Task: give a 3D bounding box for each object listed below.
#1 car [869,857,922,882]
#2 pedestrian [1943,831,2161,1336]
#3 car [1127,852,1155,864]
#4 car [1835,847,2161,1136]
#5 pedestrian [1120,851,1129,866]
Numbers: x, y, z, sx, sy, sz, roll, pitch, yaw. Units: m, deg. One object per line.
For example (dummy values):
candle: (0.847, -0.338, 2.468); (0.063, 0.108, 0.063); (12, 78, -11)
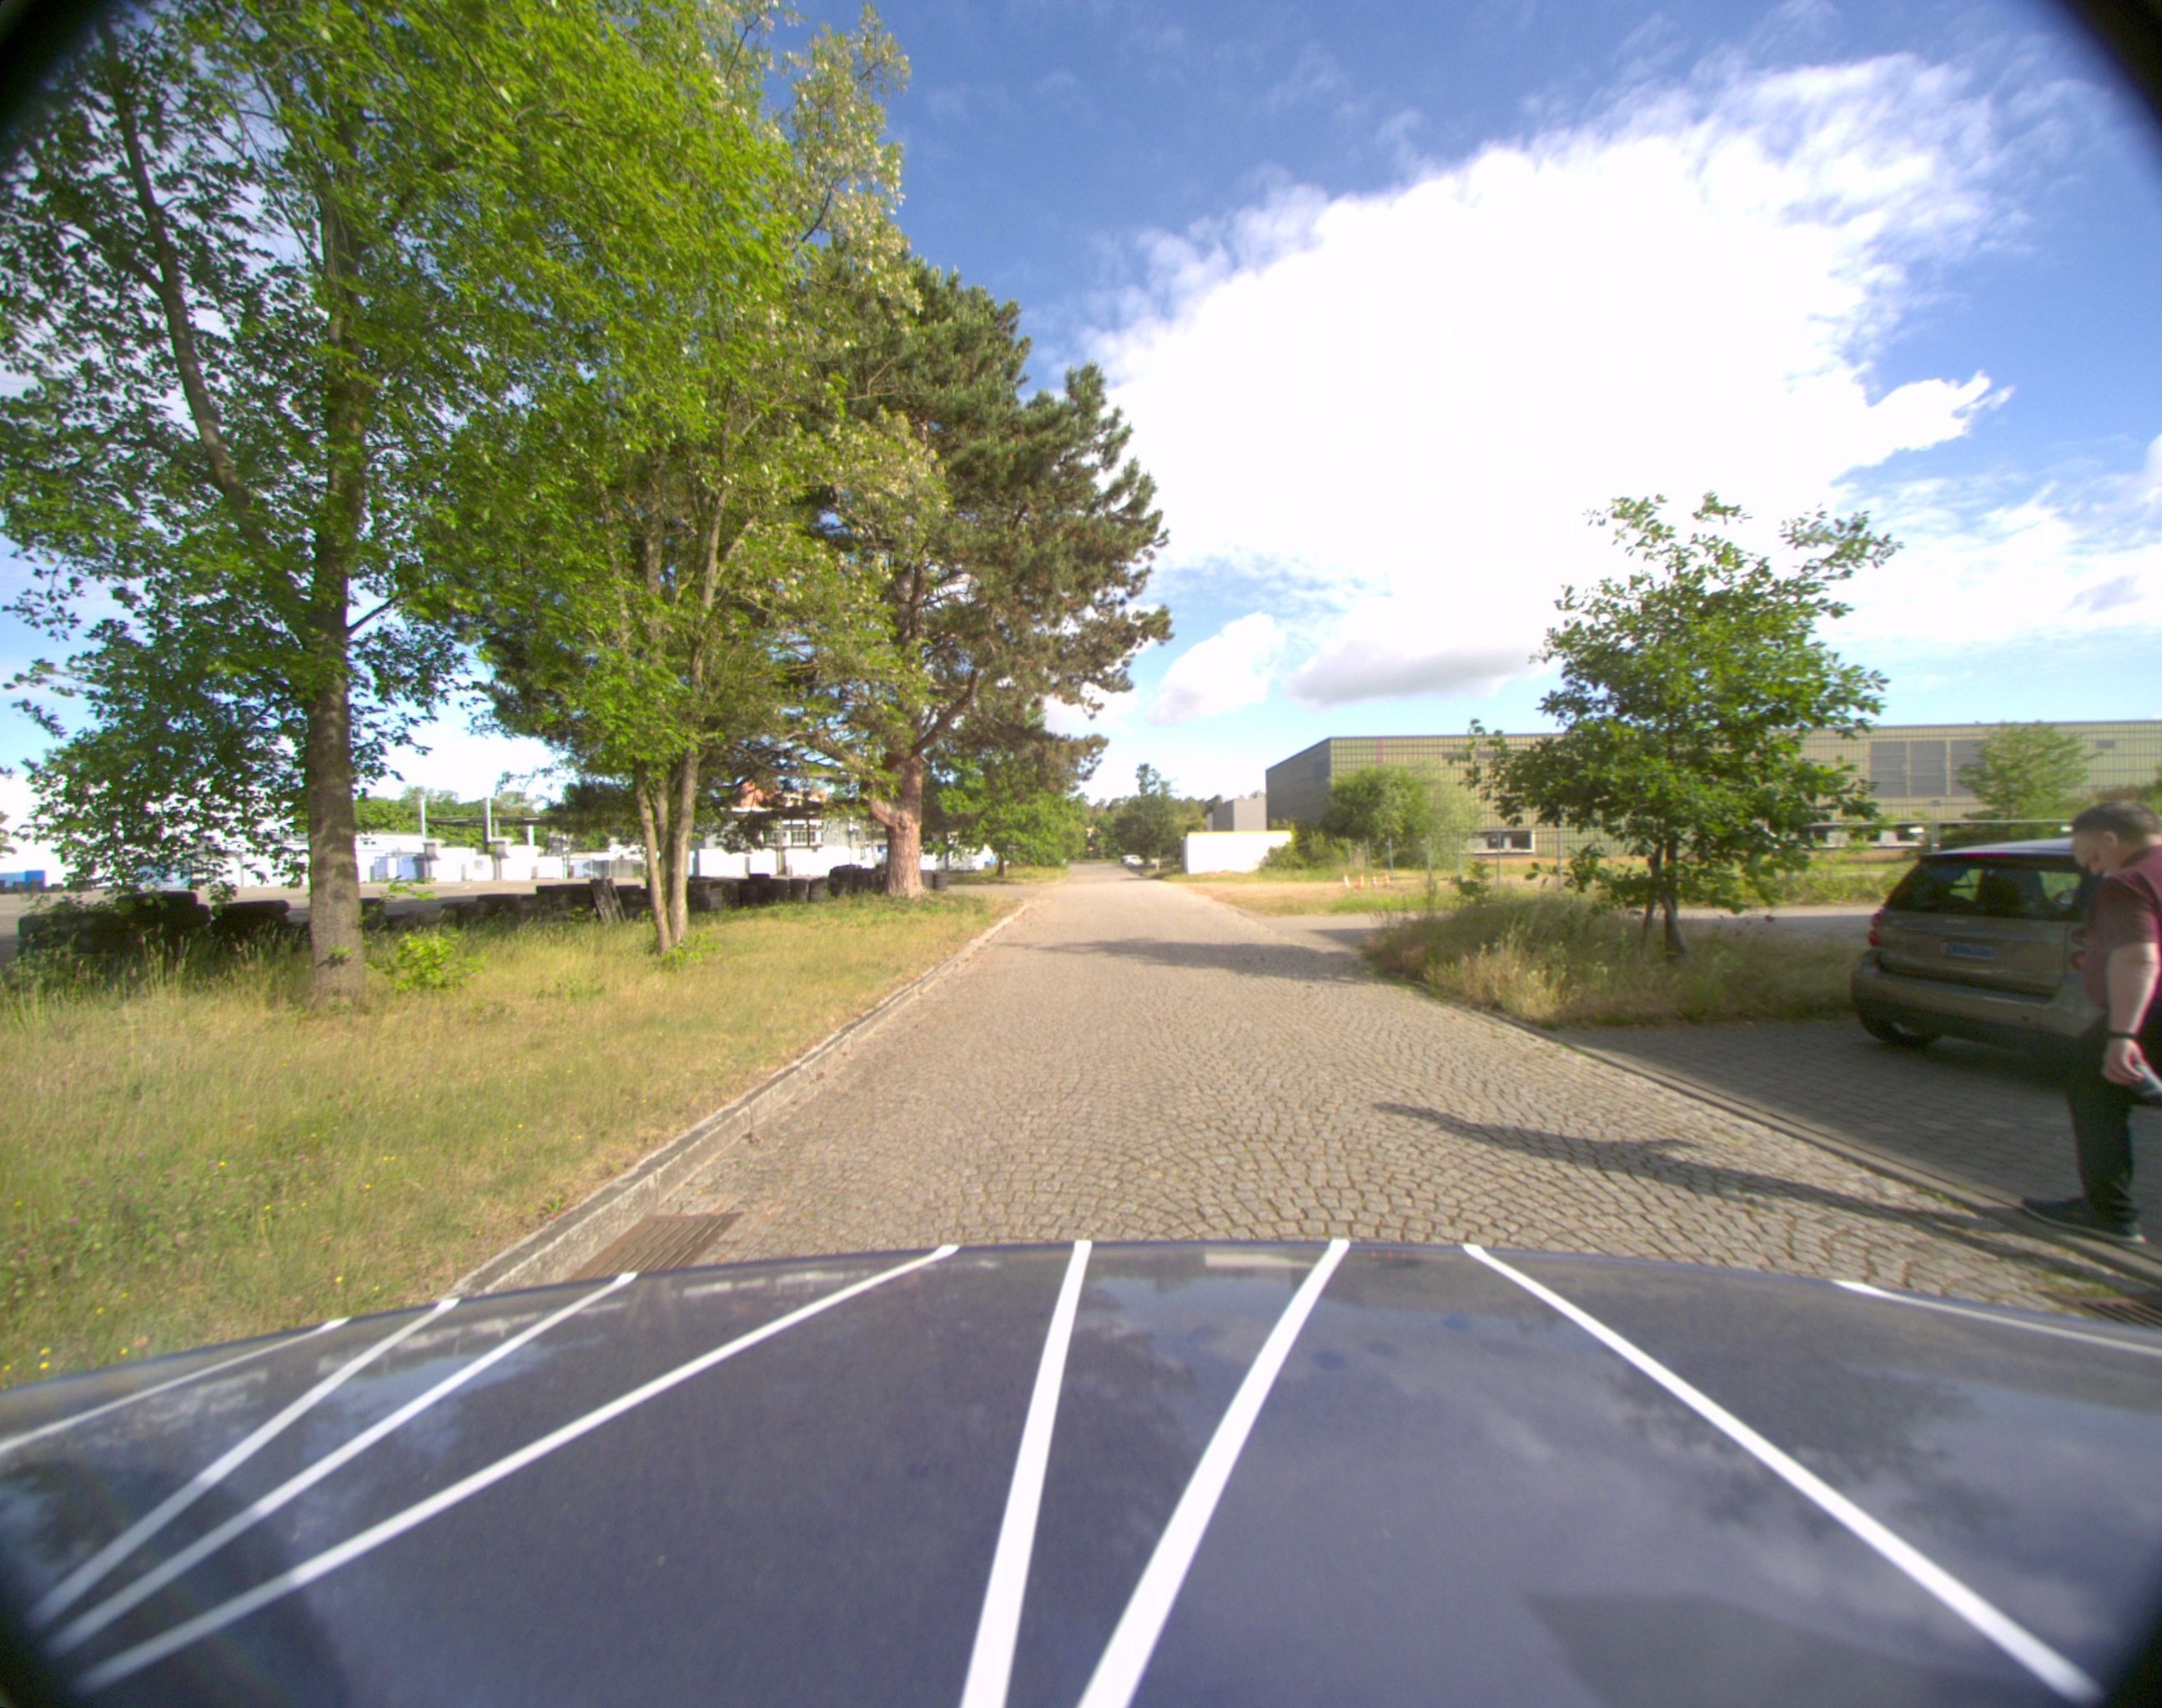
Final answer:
car: (-11.400, 0.948, 47.018); (1.846, 1.440, 4.002); (-1, 0, 7)
pedestrian: (4.155, 0.795, 2.728); (0.806, 1.761, 1.152); (-1, 1, -3)
car: (8.840, 0.531, 112.388); (3.996, 1.678, 2.000); (-1, 0, 4)
car: (7.147, 0.770, 5.060); (2.705, 1.533, 1.518); (-3, 1, 0)
pedestrian: (5.313, 0.559, 92.341); (0.908, 1.797, 0.983); (-1, 1, -6)
